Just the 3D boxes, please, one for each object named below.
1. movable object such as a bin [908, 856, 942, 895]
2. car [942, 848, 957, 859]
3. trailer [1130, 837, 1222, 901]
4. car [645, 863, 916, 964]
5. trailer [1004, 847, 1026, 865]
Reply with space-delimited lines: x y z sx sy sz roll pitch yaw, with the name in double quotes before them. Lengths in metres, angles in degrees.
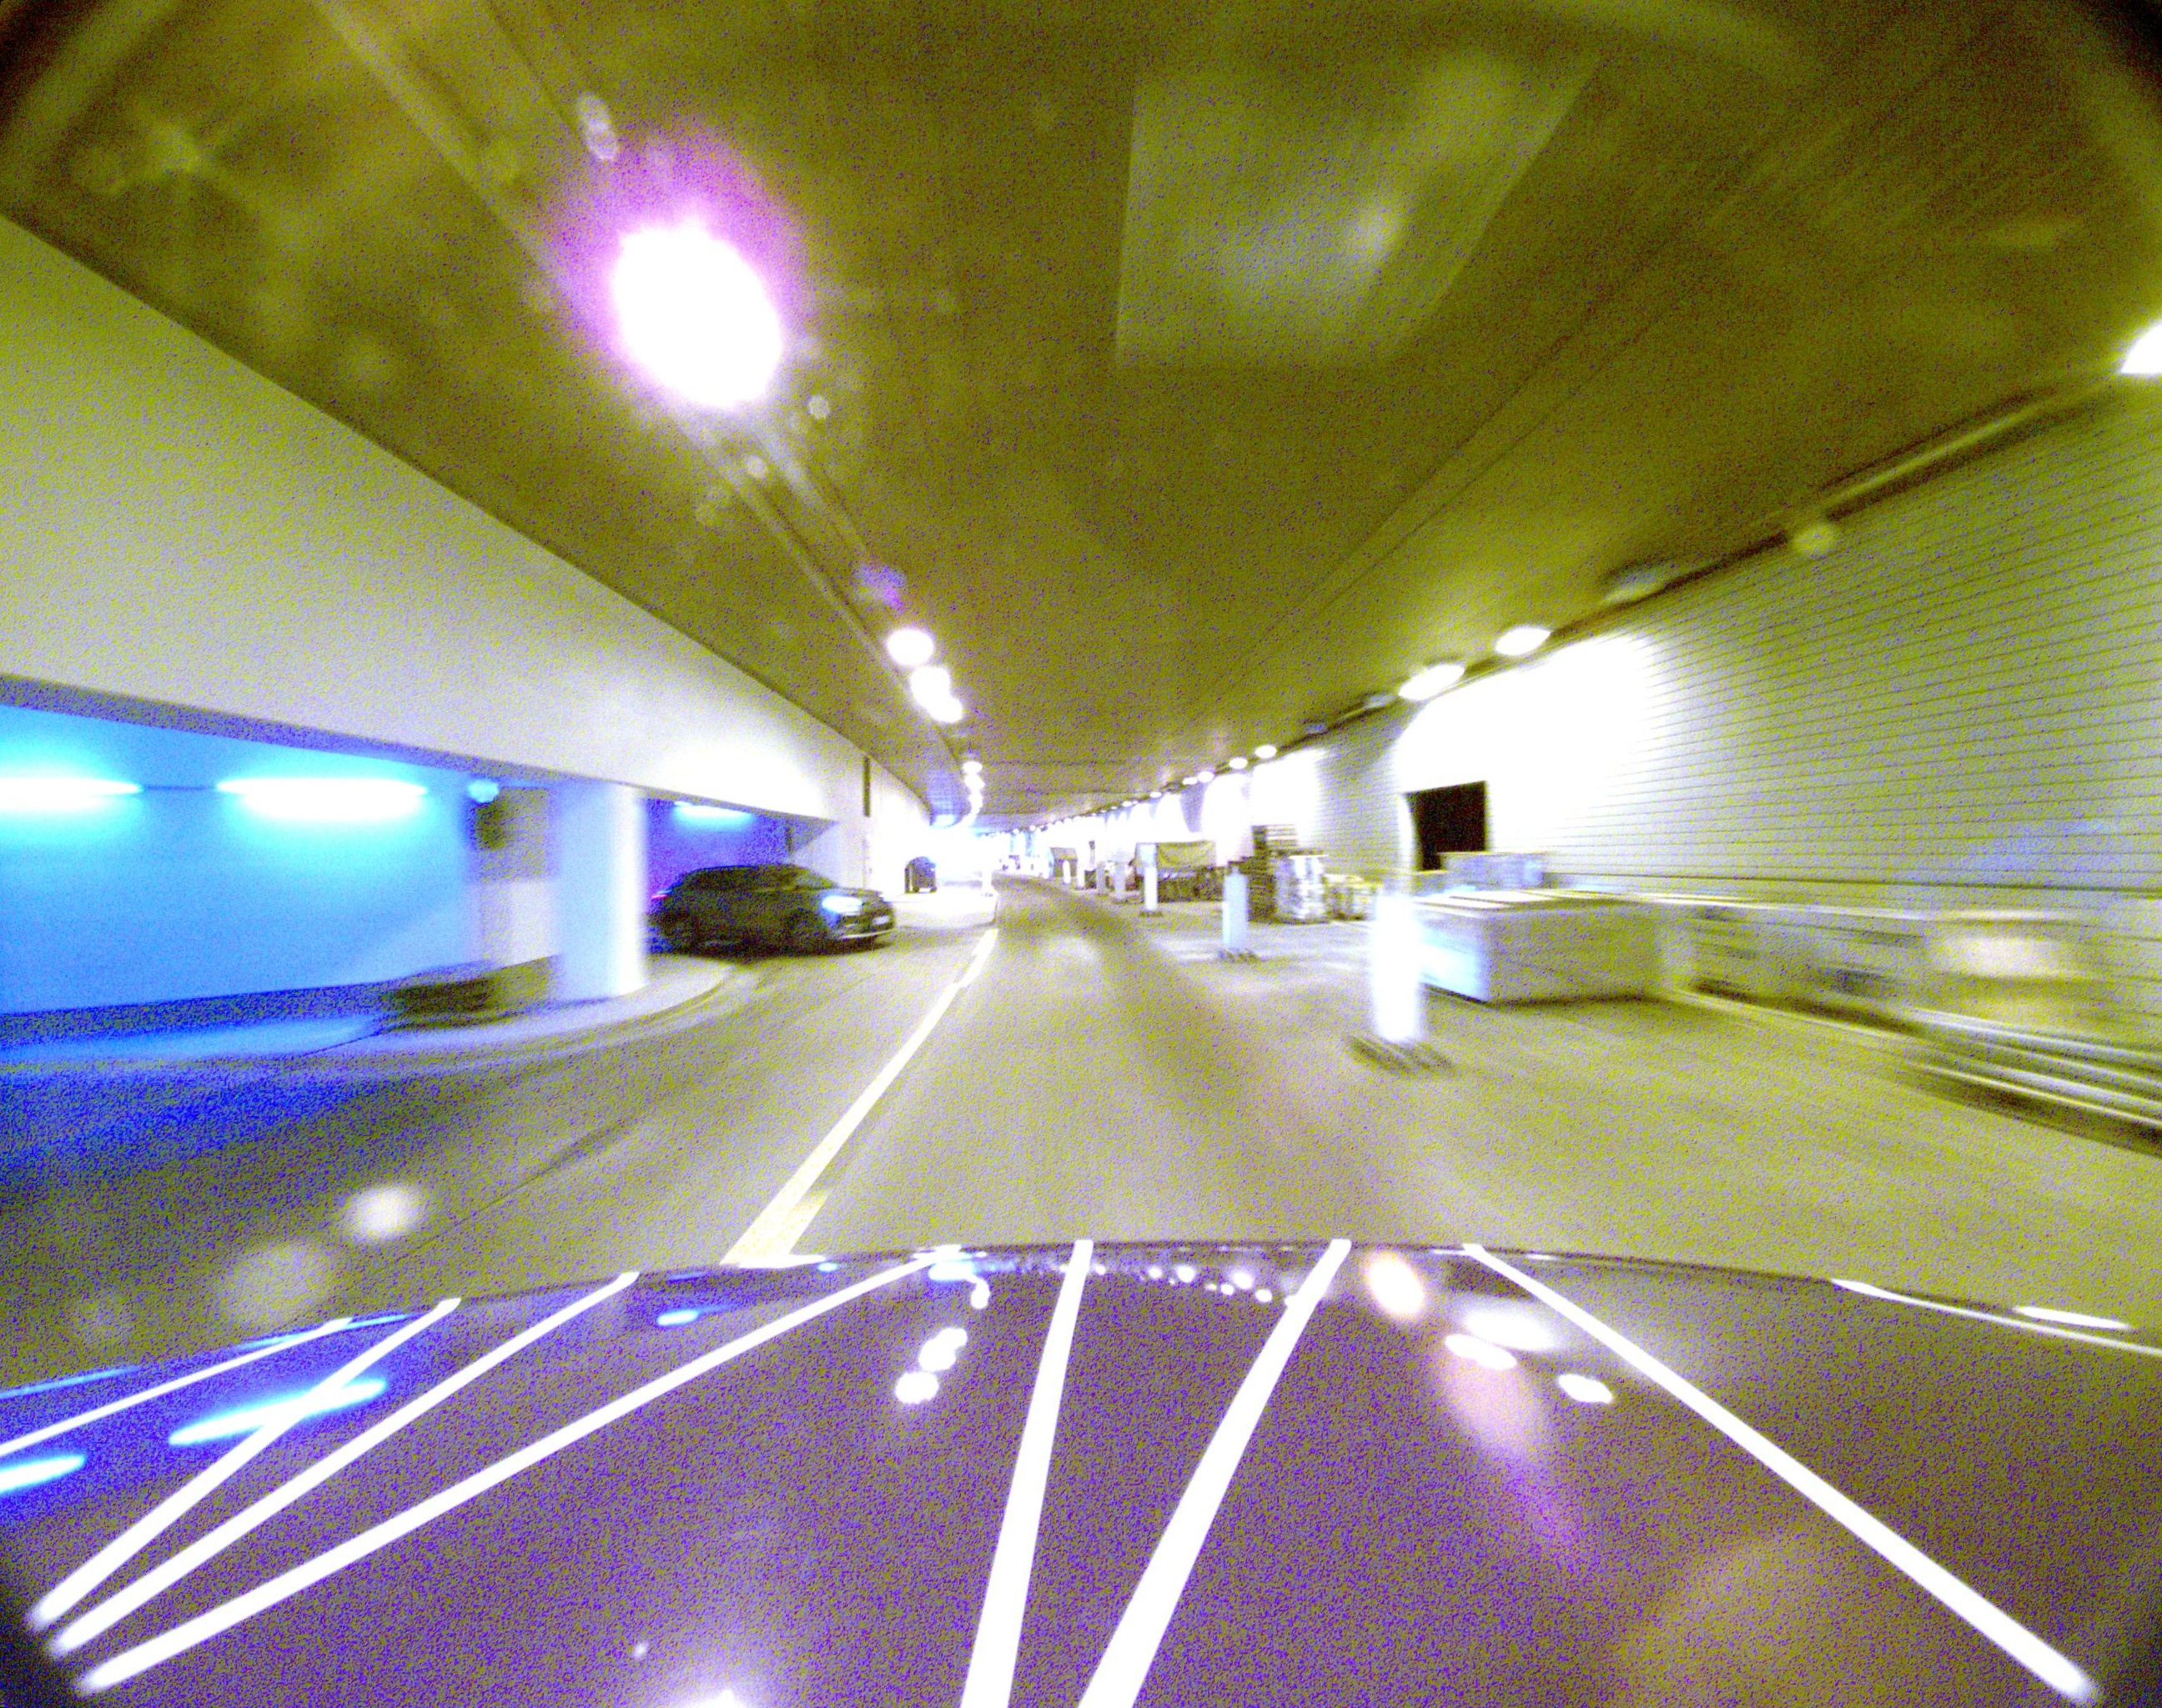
"movable object such as a bin" -6.105 0.812 29.773 1.149 1.437 1.362 -2 1 -8
"car" -21.709 -0.044 125.433 2.001 1.743 3.994 -2 1 -15
"trailer" 3.181 0.451 26.122 2.215 2.002 3.463 -2 1 -9
"car" -5.333 0.994 13.587 4.231 1.537 1.900 -1 1 19
"trailer" -6.742 0.169 77.288 1.645 1.781 3.117 -2 1 -17
